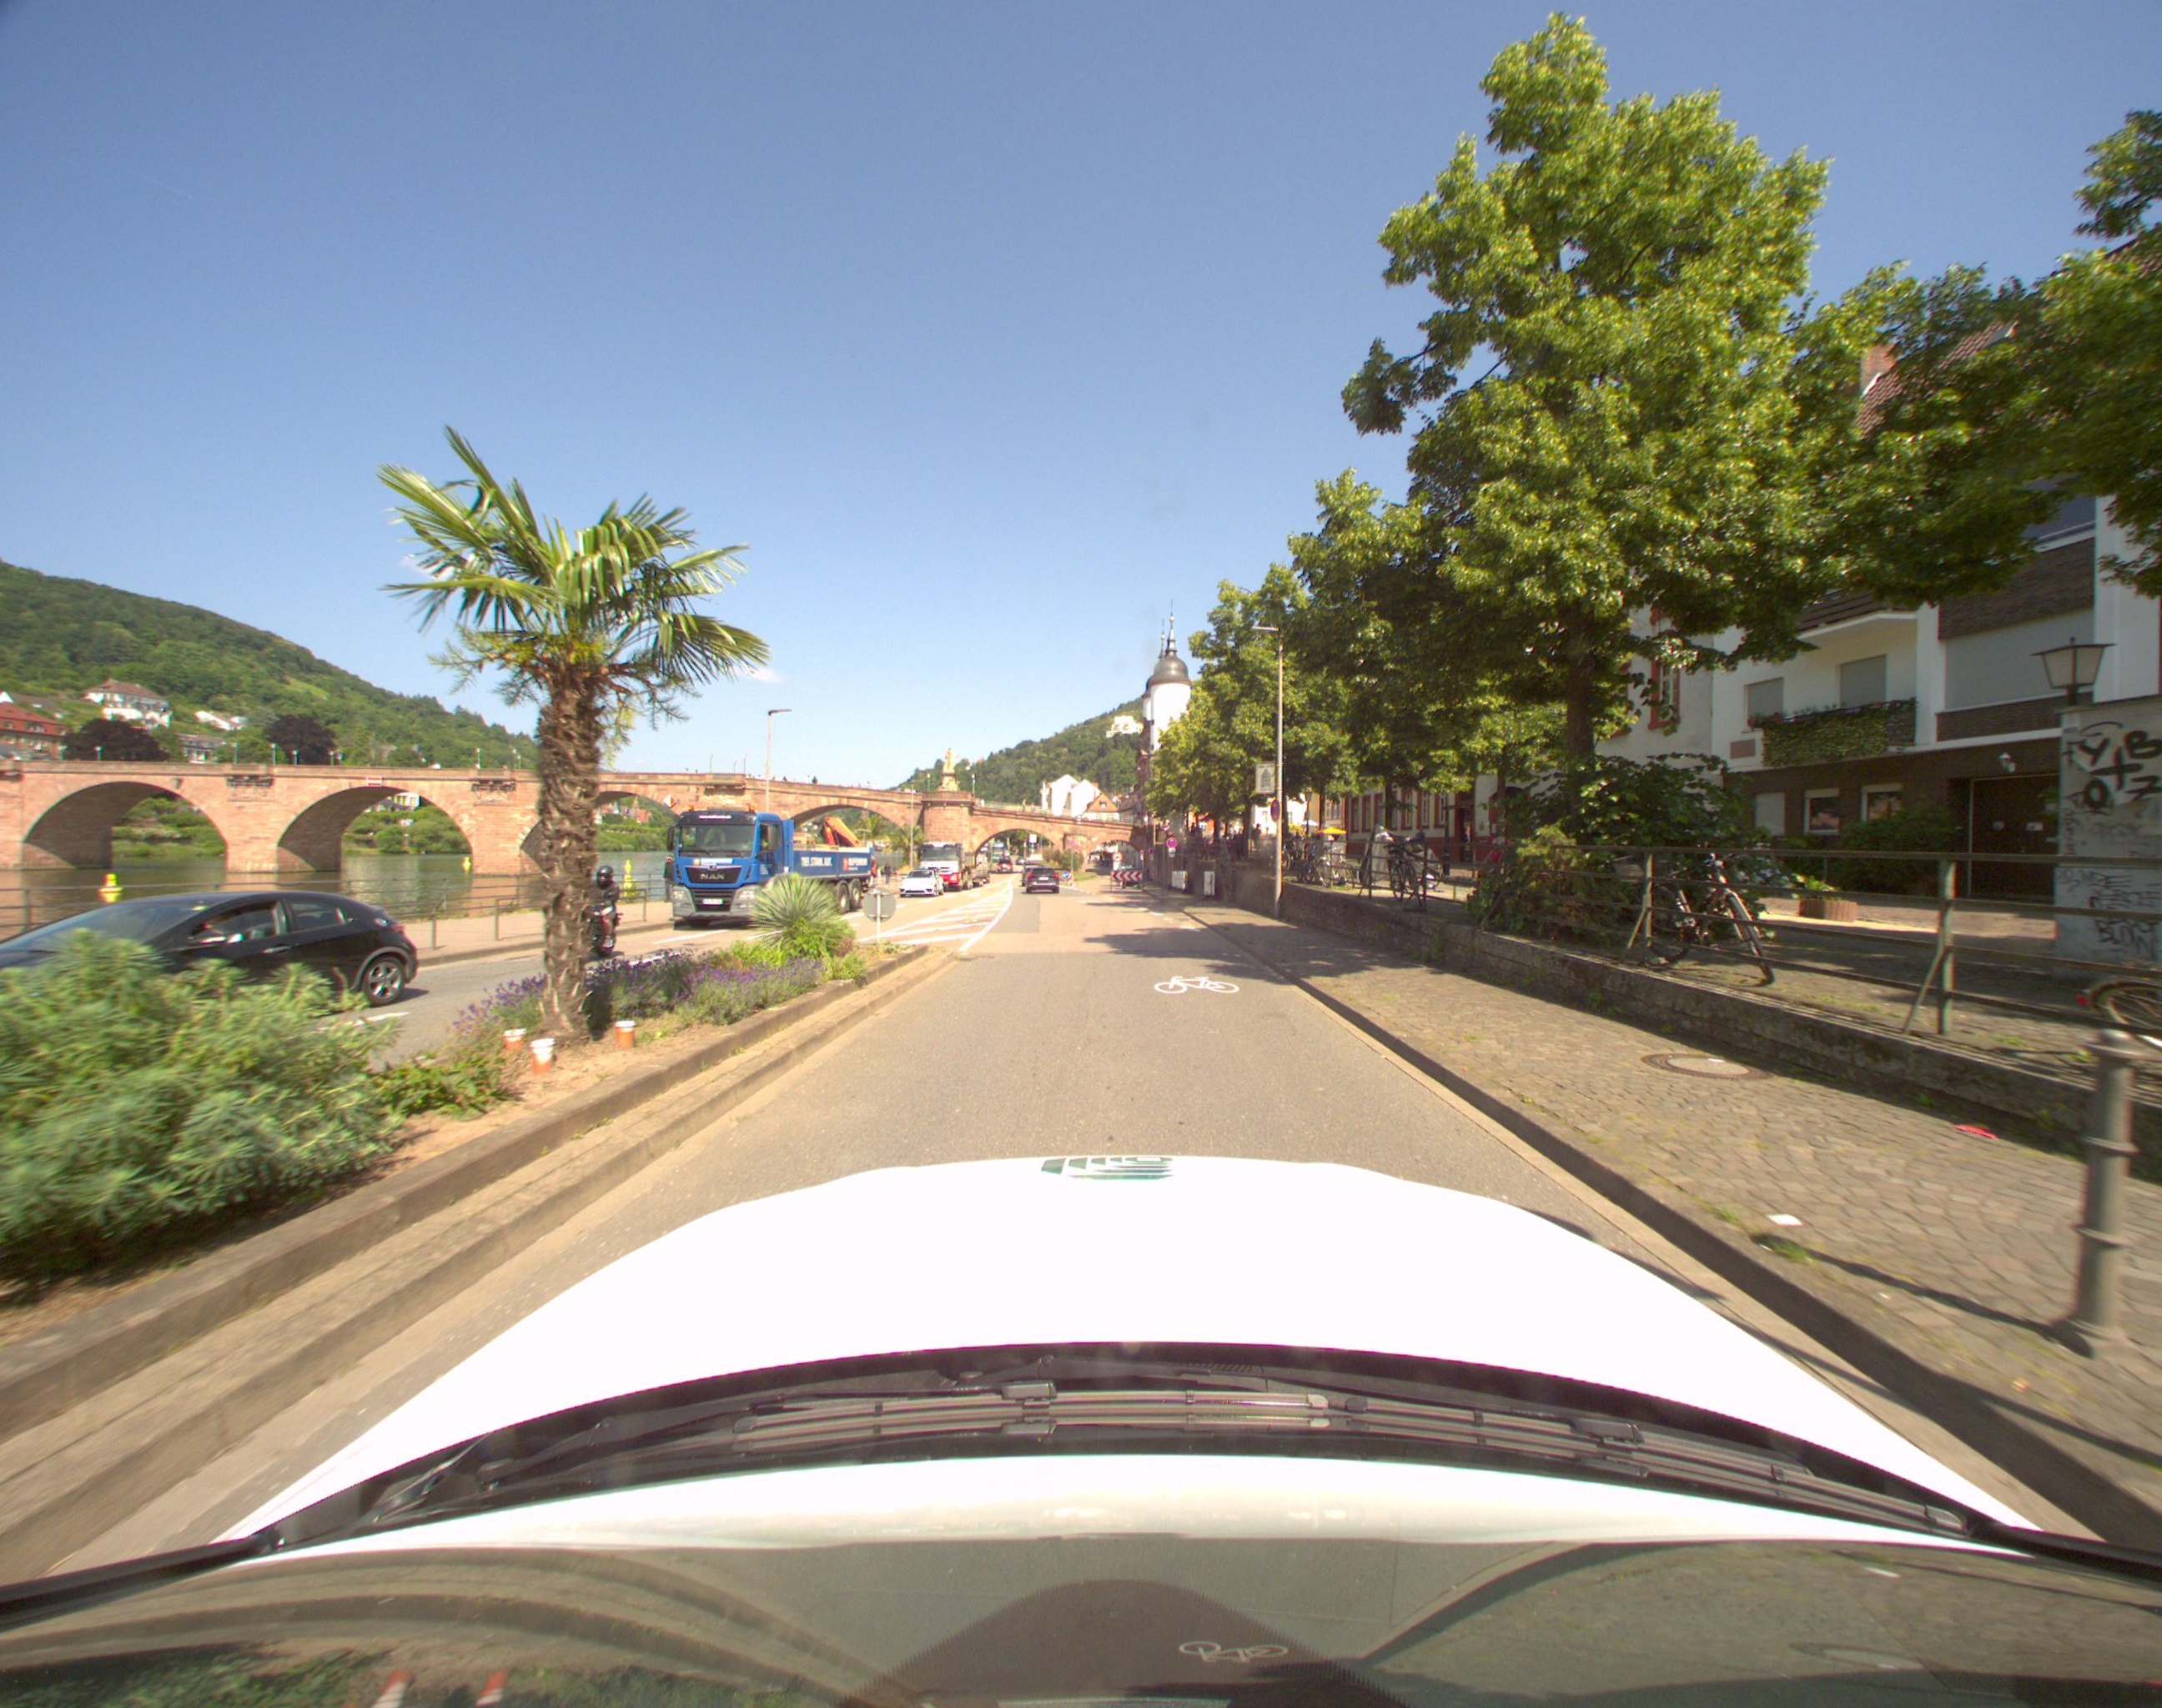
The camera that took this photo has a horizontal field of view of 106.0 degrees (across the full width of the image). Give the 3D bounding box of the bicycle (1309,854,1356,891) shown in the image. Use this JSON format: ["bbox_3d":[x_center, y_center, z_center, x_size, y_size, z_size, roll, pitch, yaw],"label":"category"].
[{"bbox_3d":[5.555,0.393,18.094,0.349,0.784,1.917,0,0,-3],"label":"bicycle"}]

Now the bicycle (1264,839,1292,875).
[{"bbox_3d":[5.631,0.081,23.316,0.297,1.004,1.940,0,0,-1],"label":"bicycle"}]

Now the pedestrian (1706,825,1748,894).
[{"bbox_3d":[14.832,0.128,18.711,0.466,1.545,0.608,2,-1,2],"label":"pedestrian"}]

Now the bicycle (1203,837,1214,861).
[{"bbox_3d":[6.109,-0.216,39.116,0.408,1.106,1.737,-1,-1,5],"label":"bicycle"}]

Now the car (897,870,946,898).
[{"bbox_3d":[-8.404,1.552,43.294,1.772,1.444,3.997,0,-1,0],"label":"car"}]

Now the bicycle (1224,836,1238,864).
[{"bbox_3d":[6.119,-0.159,33.271,0.408,1.106,1.926,0,-1,5],"label":"bicycle"}]

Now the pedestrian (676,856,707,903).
[{"bbox_3d":[-14.435,0.945,30.221,0.709,1.706,0.846,0,-1,2],"label":"pedestrian"}]

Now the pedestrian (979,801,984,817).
[{"bbox_3d":[-12.909,-5.845,105.347,0.580,2.014,0.585,0,-1,-3],"label":"pedestrian"}]

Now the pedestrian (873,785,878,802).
[{"bbox_3d":[-25.519,-7.523,101.101,0.623,2.014,0.693,0,-1,-10],"label":"pedestrian"}]

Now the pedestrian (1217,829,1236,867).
[{"bbox_3d":[6.562,-0.266,36.751,0.716,1.721,0.573,0,-1,0],"label":"pedestrian"}]

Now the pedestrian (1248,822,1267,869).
[{"bbox_3d":[8.292,-0.400,38.266,0.716,2.189,0.711,0,-1,0],"label":"pedestrian"}]

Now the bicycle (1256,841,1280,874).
[{"bbox_3d":[5.835,0.103,25.455,0.297,1.004,1.859,0,0,-1],"label":"bicycle"}]

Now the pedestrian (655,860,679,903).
[{"bbox_3d":[-15.289,1.008,30.091,0.585,1.557,0.414,3,-1,2],"label":"pedestrian"}]

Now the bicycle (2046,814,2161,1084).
[{"bbox_3d":[5.287,0.429,3.142,0.474,1.262,2.161,-2,-1,-2],"label":"bicycle"}]

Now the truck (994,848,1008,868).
[{"bbox_3d":[-15.282,0.754,156.198,2.519,3.748,6.236,-1,1,-5],"label":"truck"}]

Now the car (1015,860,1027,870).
[{"bbox_3d":[-10.572,1.952,143.126,1.855,1.662,3.986,-1,0,-10],"label":"car"}]

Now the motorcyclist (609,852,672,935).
[{"bbox_3d":[-8.402,0.737,15.551,0.699,1.527,0.861,0,-1,2],"label":"motorcyclist"}]

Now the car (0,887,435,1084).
[{"bbox_3d":[-9.133,1.105,8.326,1.650,1.436,4.083,0,-1,2],"label":"car"}]

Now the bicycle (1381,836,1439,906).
[{"bbox_3d":[5.556,0.280,13.847,0.342,1.112,1.921,0,-1,5],"label":"bicycle"}]

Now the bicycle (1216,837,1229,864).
[{"bbox_3d":[6.051,-0.141,34.962,0.408,1.106,1.737,0,-1,5],"label":"bicycle"}]

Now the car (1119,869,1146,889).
[{"bbox_3d":[3.877,1.877,62.206,1.836,1.450,4.534,0,-1,1],"label":"car"}]

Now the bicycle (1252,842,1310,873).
[{"bbox_3d":[6.603,0.115,26.929,1.849,1.004,0.298,0,0,-3],"label":"bicycle"}]

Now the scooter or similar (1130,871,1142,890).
[{"bbox_3d":[3.661,1.743,54.142,0.528,1.230,1.276,-1,-1,14],"label":"scooter or similar"}]

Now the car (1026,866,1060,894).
[{"bbox_3d":[-2.184,1.454,46.273,1.853,1.524,3.995,0,-1,-3],"label":"car"}]

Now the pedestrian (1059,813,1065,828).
[{"bbox_3d":[-2.518,-4.404,107.729,0.682,2.014,0.585,0,-1,-3],"label":"pedestrian"}]

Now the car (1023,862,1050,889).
[{"bbox_3d":[-3.423,1.615,63.431,1.988,2.014,3.997,0,-1,-2],"label":"car"}]

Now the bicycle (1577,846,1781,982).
[{"bbox_3d":[5.314,0.455,7.417,0.300,1.049,2.163,-2,1,2],"label":"bicycle"}]

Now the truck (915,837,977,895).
[{"bbox_3d":[-8.724,0.819,53.450,2.633,3.457,7.869,-1,-1,0],"label":"truck"}]

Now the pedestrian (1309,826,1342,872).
[{"bbox_3d":[6.861,-0.140,22.868,0.693,1.265,0.669,0,-1,-4],"label":"pedestrian"}]

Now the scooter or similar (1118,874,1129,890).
[{"bbox_3d":[2.840,1.852,54.067,0.528,1.090,1.442,-1,-1,9],"label":"scooter or similar"}]

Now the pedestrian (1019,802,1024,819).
[{"bbox_3d":[-7.408,-5.445,101.953,0.622,2.014,0.694,0,-1,-2],"label":"pedestrian"}]

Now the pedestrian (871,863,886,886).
[{"bbox_3d":[-15.051,1.521,60.609,0.800,1.692,0.836,1,-1,-41],"label":"pedestrian"}]

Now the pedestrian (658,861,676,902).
[{"bbox_3d":[-15.293,1.003,30.104,0.349,1.485,0.414,3,-1,2],"label":"pedestrian"}]

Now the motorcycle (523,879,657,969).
[{"bbox_3d":[-8.501,1.153,14.274,0.723,1.387,2.513,0,-1,3],"label":"motorcycle"}]

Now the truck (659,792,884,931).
[{"bbox_3d":[-9.103,0.258,25.987,2.632,3.476,11.111,0,-1,2],"label":"truck"}]

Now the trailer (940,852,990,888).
[{"bbox_3d":[-8.701,1.226,61.846,2.689,2.531,6.946,-1,-1,0],"label":"trailer"}]

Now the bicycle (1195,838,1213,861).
[{"bbox_3d":[6.194,-0.229,41.093,0.409,1.106,1.730,-1,-1,-7],"label":"bicycle"}]

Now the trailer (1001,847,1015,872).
[{"bbox_3d":[-9.966,0.744,111.439,1.737,3.320,3.381,-1,-1,-2],"label":"trailer"}]

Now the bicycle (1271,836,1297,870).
[{"bbox_3d":[7.115,-0.041,28.605,0.380,1.140,1.933,0,0,-1],"label":"bicycle"}]

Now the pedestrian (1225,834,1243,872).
[{"bbox_3d":[7.012,-0.047,37.377,0.716,1.721,0.573,0,-1,0],"label":"pedestrian"}]

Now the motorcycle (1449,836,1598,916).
[{"bbox_3d":[6.438,0.304,11.874,1.914,1.098,0.573,-1,-1,-8],"label":"motorcycle"}]

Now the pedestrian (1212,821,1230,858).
[{"bbox_3d":[6.519,-0.670,38.001,0.716,1.721,0.711,0,-1,0],"label":"pedestrian"}]

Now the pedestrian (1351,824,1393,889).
[{"bbox_3d":[6.397,0.056,17.950,0.665,1.415,0.696,0,-1,-1],"label":"pedestrian"}]

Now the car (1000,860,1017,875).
[{"bbox_3d":[-9.418,1.697,105.956,1.869,1.827,4.540,-1,0,-2],"label":"car"}]
